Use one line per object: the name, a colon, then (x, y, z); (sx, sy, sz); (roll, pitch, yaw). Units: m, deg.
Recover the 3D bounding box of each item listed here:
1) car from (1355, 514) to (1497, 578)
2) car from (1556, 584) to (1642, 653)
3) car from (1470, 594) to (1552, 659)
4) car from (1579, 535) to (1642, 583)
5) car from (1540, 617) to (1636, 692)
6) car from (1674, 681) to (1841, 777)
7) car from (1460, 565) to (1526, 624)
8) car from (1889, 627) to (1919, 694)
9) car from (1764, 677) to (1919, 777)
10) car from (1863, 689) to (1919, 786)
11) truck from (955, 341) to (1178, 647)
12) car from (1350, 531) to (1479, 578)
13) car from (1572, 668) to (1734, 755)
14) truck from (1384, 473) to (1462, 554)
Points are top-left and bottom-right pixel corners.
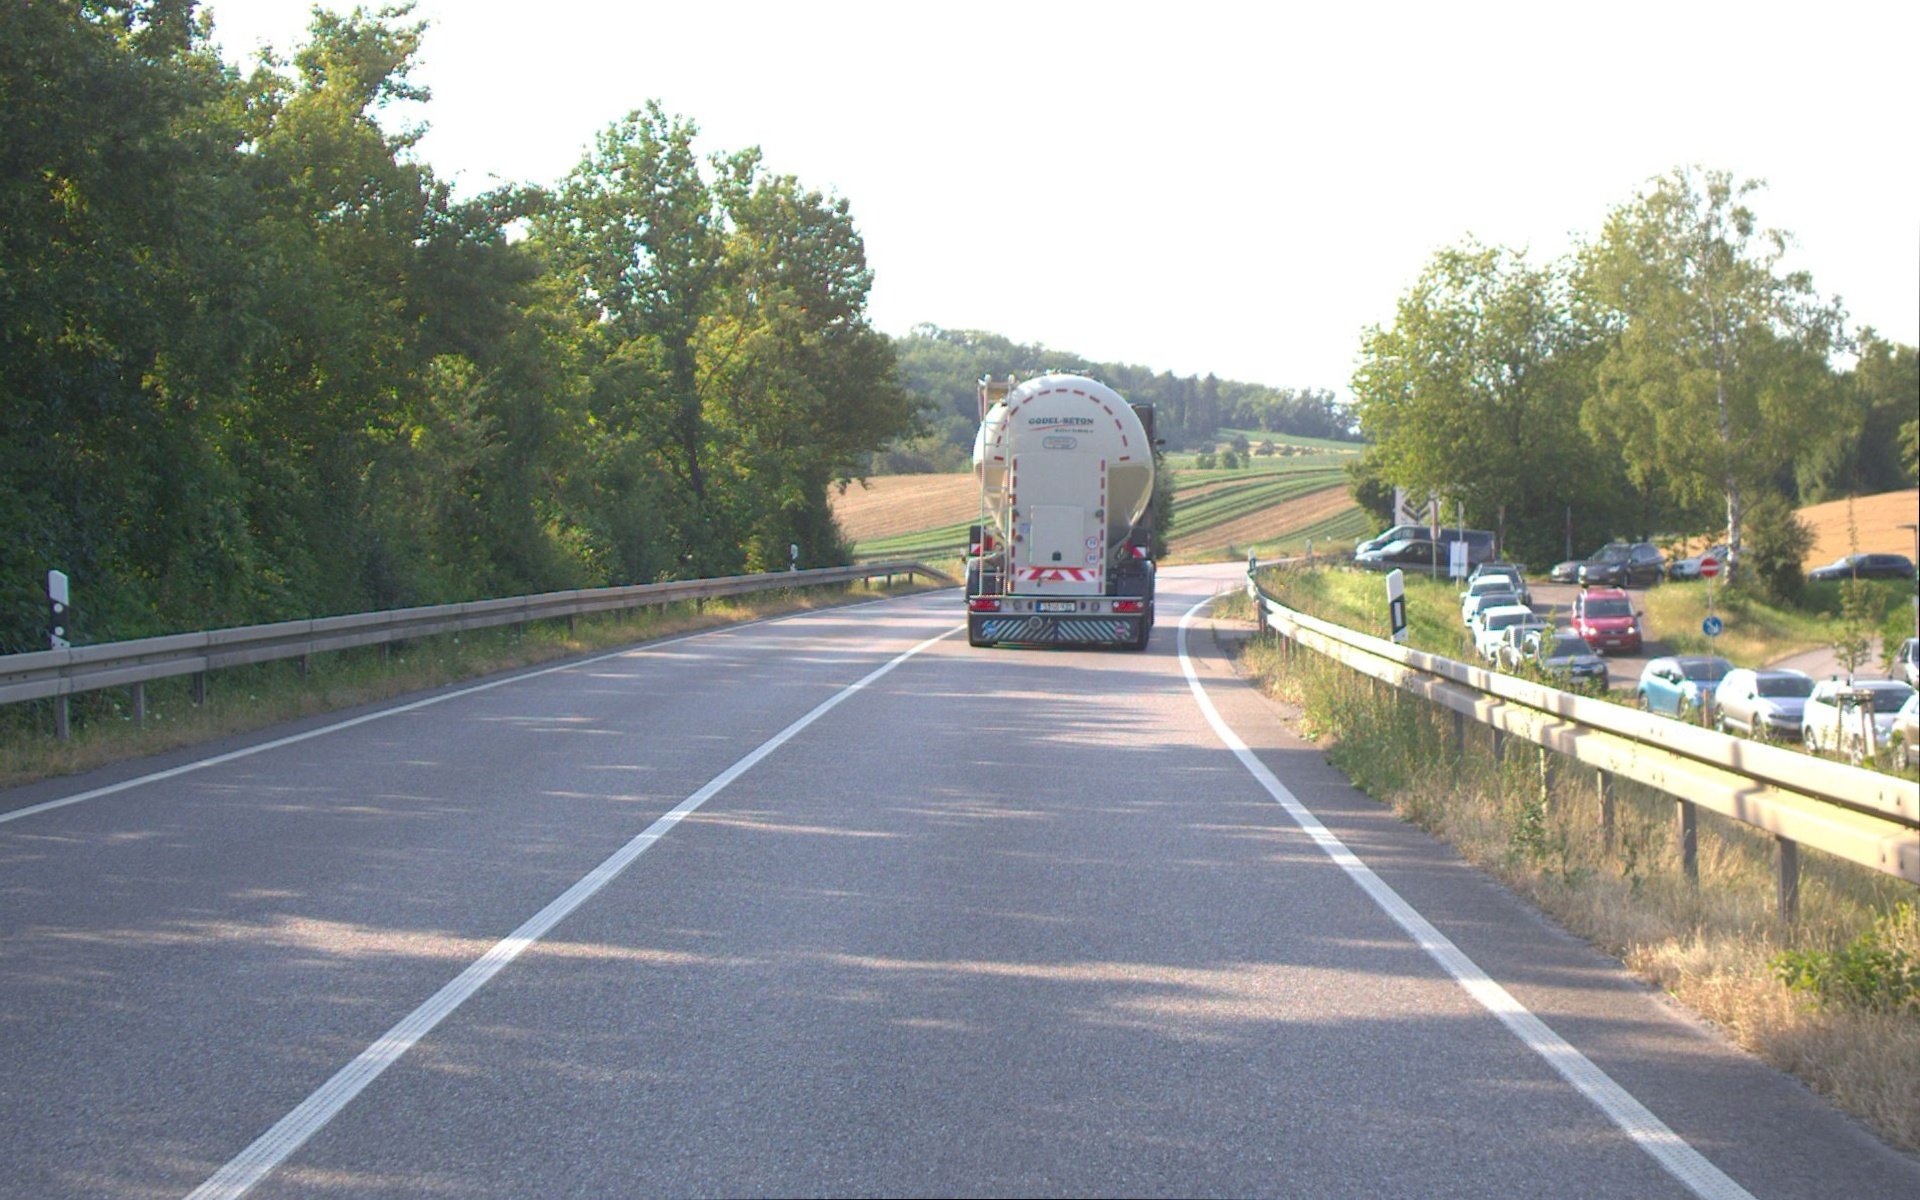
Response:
car: (17.773, -2.081, 131.066); (5.141, 1.937, 1.974); (6, 3, 8)
car: (19.300, 0.533, 103.963); (1.892, 1.681, 5.086); (-3, 3, 4)
car: (16.302, 0.763, 101.879); (1.892, 1.554, 4.783); (-3, 3, 4)
car: (23.995, -1.508, 126.956); (1.892, 1.669, 4.781); (1, 0, 7)
car: (16.569, 1.415, 90.897); (1.892, 1.554, 4.783); (-3, 3, 4)
car: (16.923, 2.716, 73.181); (1.891, 1.554, 4.784); (-4, 3, -6)
car: (17.566, -0.199, 113.141); (1.893, 1.554, 4.781); (-3, 3, 11)
car: (24.832, 1.517, 88.347); (1.702, 1.394, 4.098); (-3, 3, 14)
car: (17.716, 2.486, 68.240); (1.891, 1.554, 4.784); (-2, 3, -7)
car: (18.417, 2.559, 62.509); (1.891, 1.554, 4.784); (-4, 3, -11)
truck: (1.440, -1.565, 53.458); (2.892, 4.128, 13.173); (1, 1, -1)
car: (16.826, -1.703, 127.312); (4.309, 1.395, 1.721); (3, 3, -18)
car: (15.914, 2.534, 79.171); (1.891, 1.554, 4.784); (-4, 3, -11)
truck: (25.103, -4.727, 185.990); (3.185, 4.213, 13.166); (0, 2, 12)
